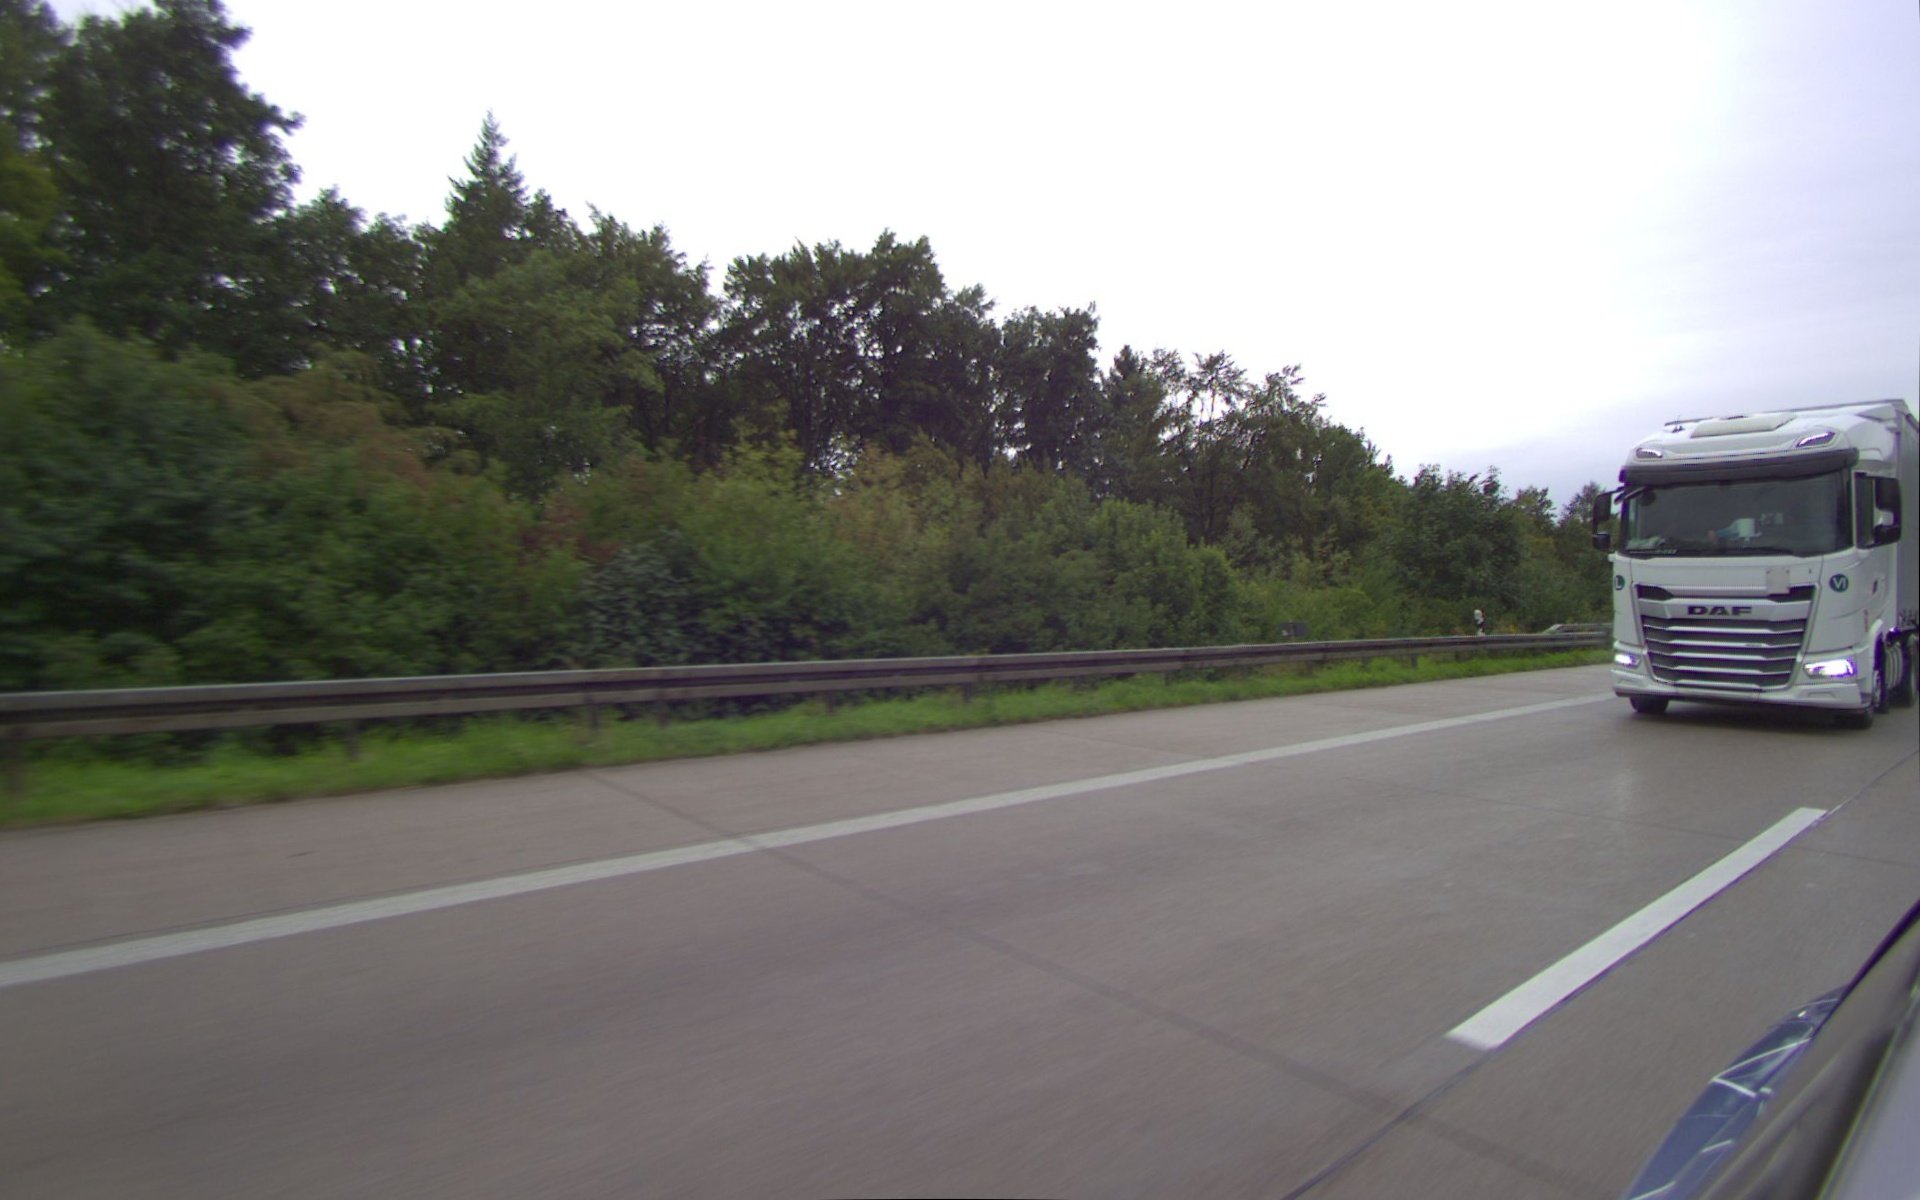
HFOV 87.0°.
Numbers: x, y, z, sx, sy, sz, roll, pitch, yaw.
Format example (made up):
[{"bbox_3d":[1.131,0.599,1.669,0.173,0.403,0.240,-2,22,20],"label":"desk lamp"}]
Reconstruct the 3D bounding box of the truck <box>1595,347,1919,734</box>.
[{"bbox_3d":[11.057,-0.647,13.573,5.650,4.092,2.726,0,0,-40],"label":"truck"}]

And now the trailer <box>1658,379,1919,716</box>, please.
[{"bbox_3d":[15.870,-0.676,17.720,13.464,4.091,2.684,0,1,-41],"label":"trailer"}]
